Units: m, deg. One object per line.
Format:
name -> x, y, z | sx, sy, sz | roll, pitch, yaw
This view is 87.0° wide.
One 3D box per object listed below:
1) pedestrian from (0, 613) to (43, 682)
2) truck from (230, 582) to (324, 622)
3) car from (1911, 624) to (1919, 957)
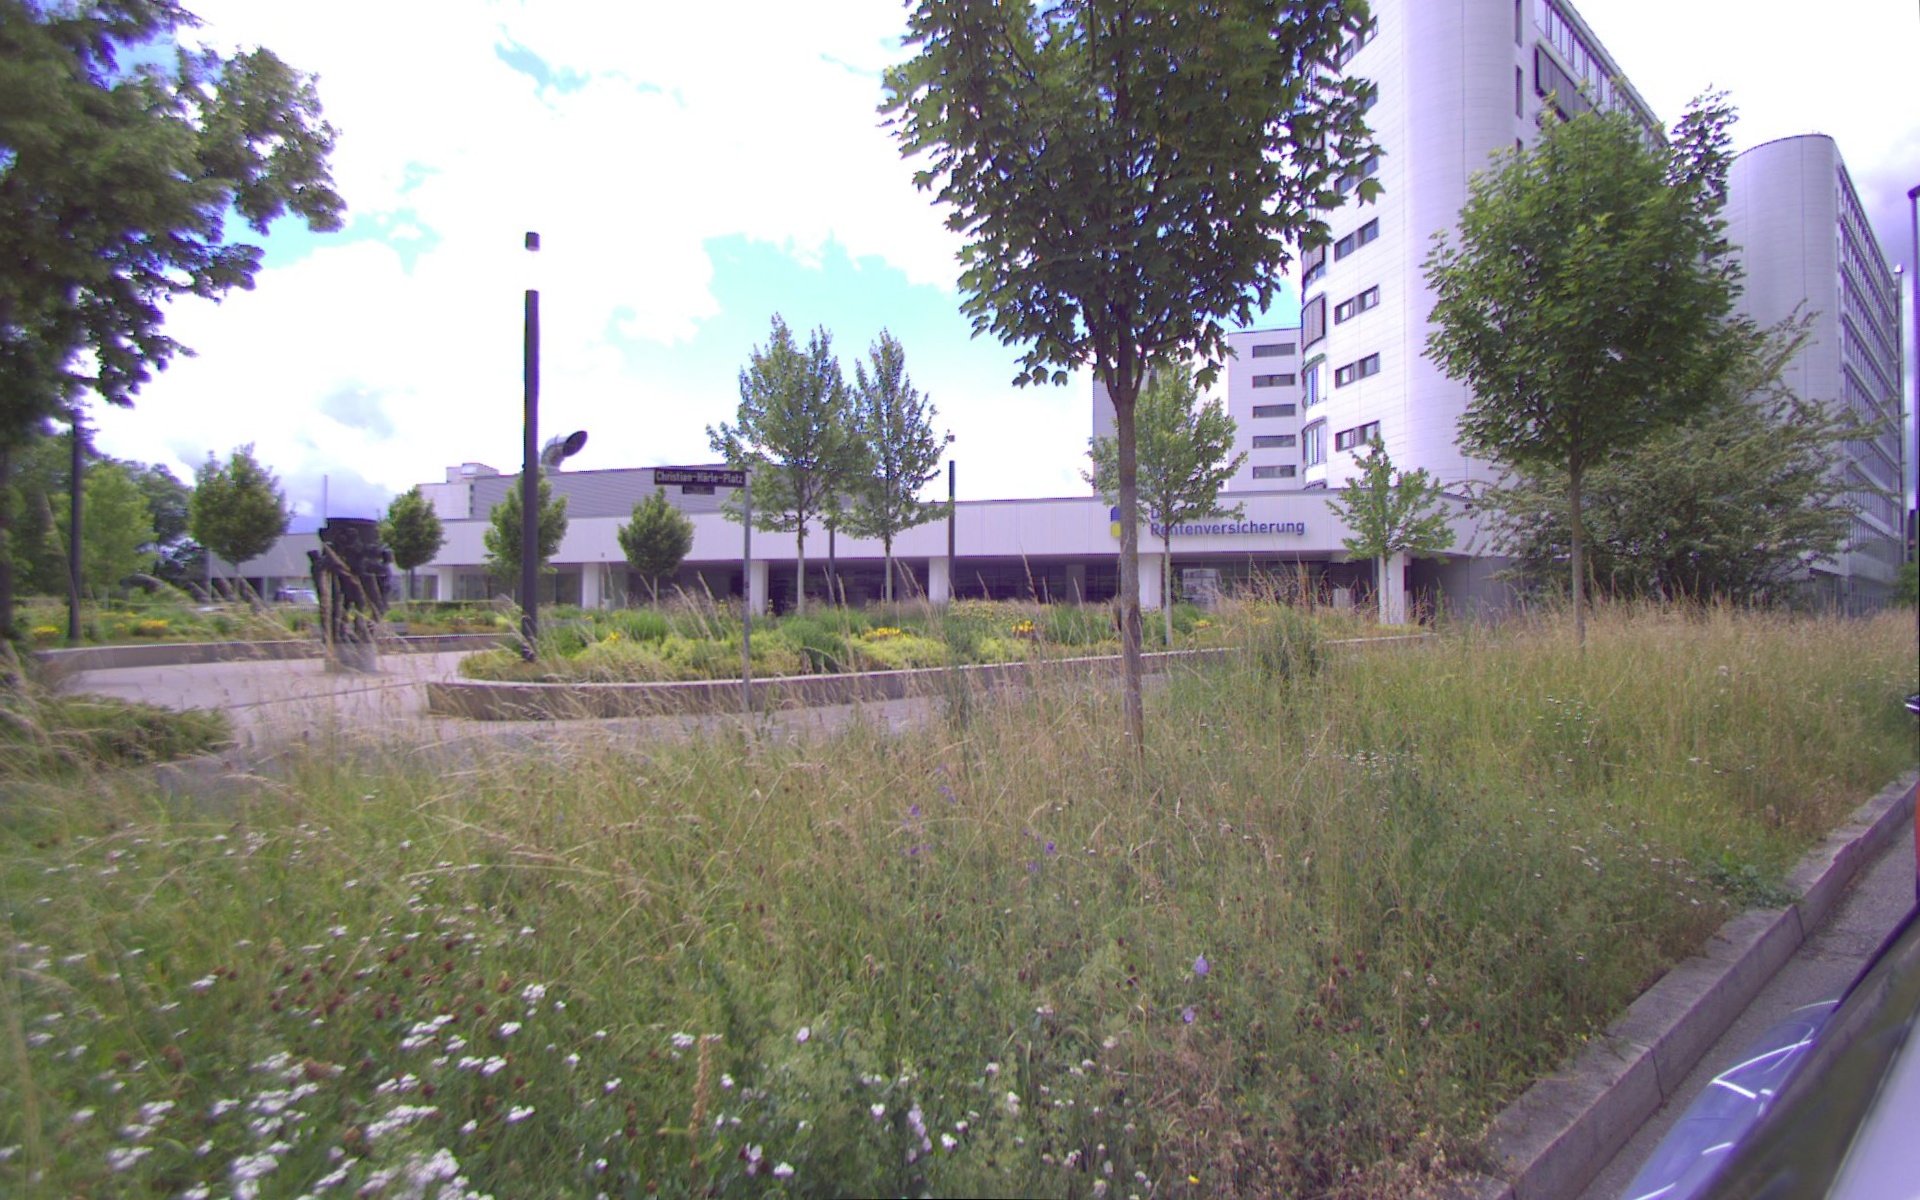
pedestrian -> -17.476, 0.869, 18.774 | 0.621, 1.238, 0.620 | 1, 0, -36
truck -> -36.131, 0.074, 53.567 | 3.941, 2.039, 1.991 | 1, 0, 14
car -> 5.811, 0.758, 4.621 | 3.611, 1.434, 1.748 | 0, 1, -41
